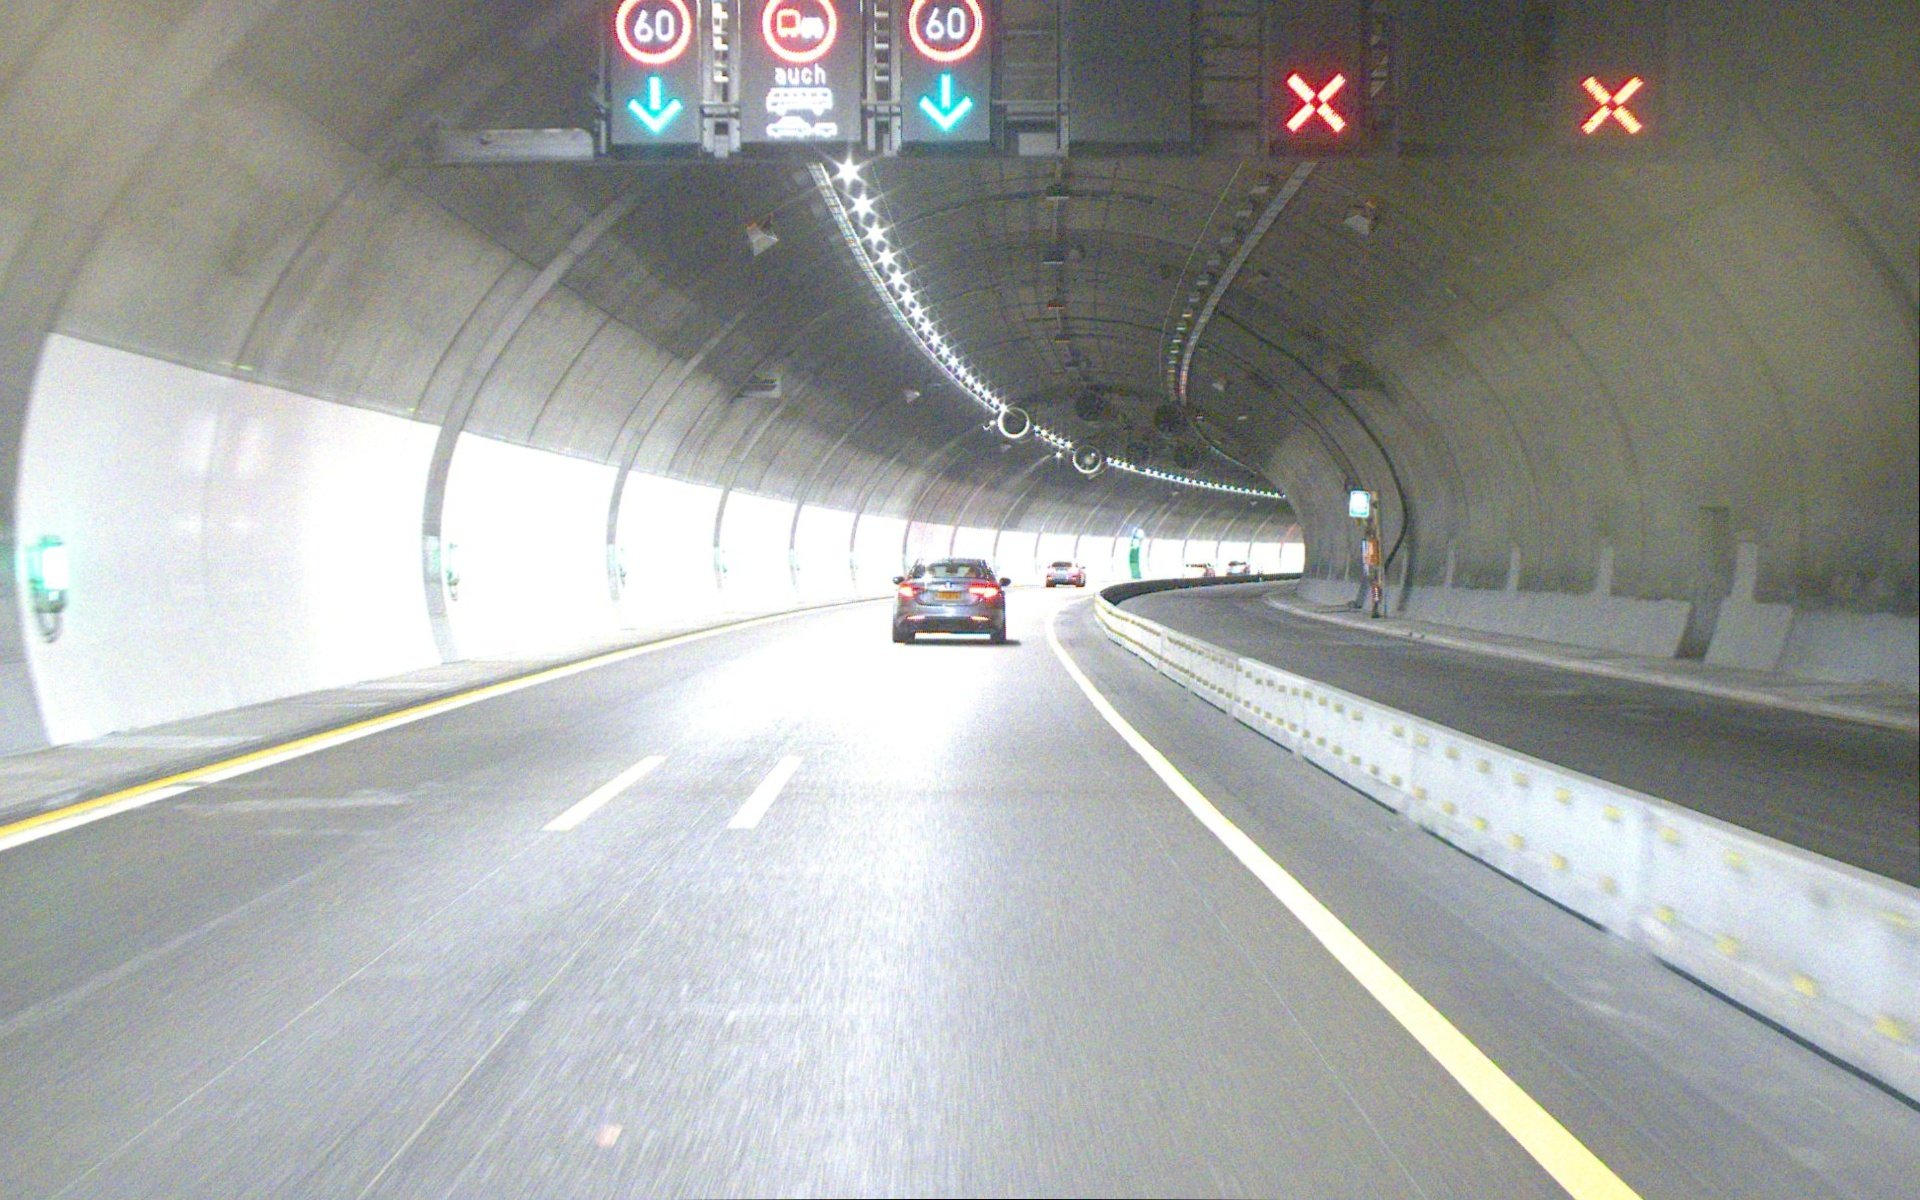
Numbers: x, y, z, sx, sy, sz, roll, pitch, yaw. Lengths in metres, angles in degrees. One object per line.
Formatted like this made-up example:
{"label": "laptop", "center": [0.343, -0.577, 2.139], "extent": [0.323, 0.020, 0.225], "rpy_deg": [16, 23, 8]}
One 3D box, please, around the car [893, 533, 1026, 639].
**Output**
{"label": "car", "center": [-0.007, -0.259, 57.828], "extent": [2.141, 1.700, 4.000], "rpy_deg": [0, 1, 0]}

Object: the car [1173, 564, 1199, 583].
{"label": "car", "center": [15.594, -1.827, 237.200], "extent": [1.595, 1.328, 3.749], "rpy_deg": [1, 1, 7]}

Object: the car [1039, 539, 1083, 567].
{"label": "car", "center": [5.444, -2.558, 184.948], "extent": [2.165, 1.481, 3.999], "rpy_deg": [0, 1, 5]}
